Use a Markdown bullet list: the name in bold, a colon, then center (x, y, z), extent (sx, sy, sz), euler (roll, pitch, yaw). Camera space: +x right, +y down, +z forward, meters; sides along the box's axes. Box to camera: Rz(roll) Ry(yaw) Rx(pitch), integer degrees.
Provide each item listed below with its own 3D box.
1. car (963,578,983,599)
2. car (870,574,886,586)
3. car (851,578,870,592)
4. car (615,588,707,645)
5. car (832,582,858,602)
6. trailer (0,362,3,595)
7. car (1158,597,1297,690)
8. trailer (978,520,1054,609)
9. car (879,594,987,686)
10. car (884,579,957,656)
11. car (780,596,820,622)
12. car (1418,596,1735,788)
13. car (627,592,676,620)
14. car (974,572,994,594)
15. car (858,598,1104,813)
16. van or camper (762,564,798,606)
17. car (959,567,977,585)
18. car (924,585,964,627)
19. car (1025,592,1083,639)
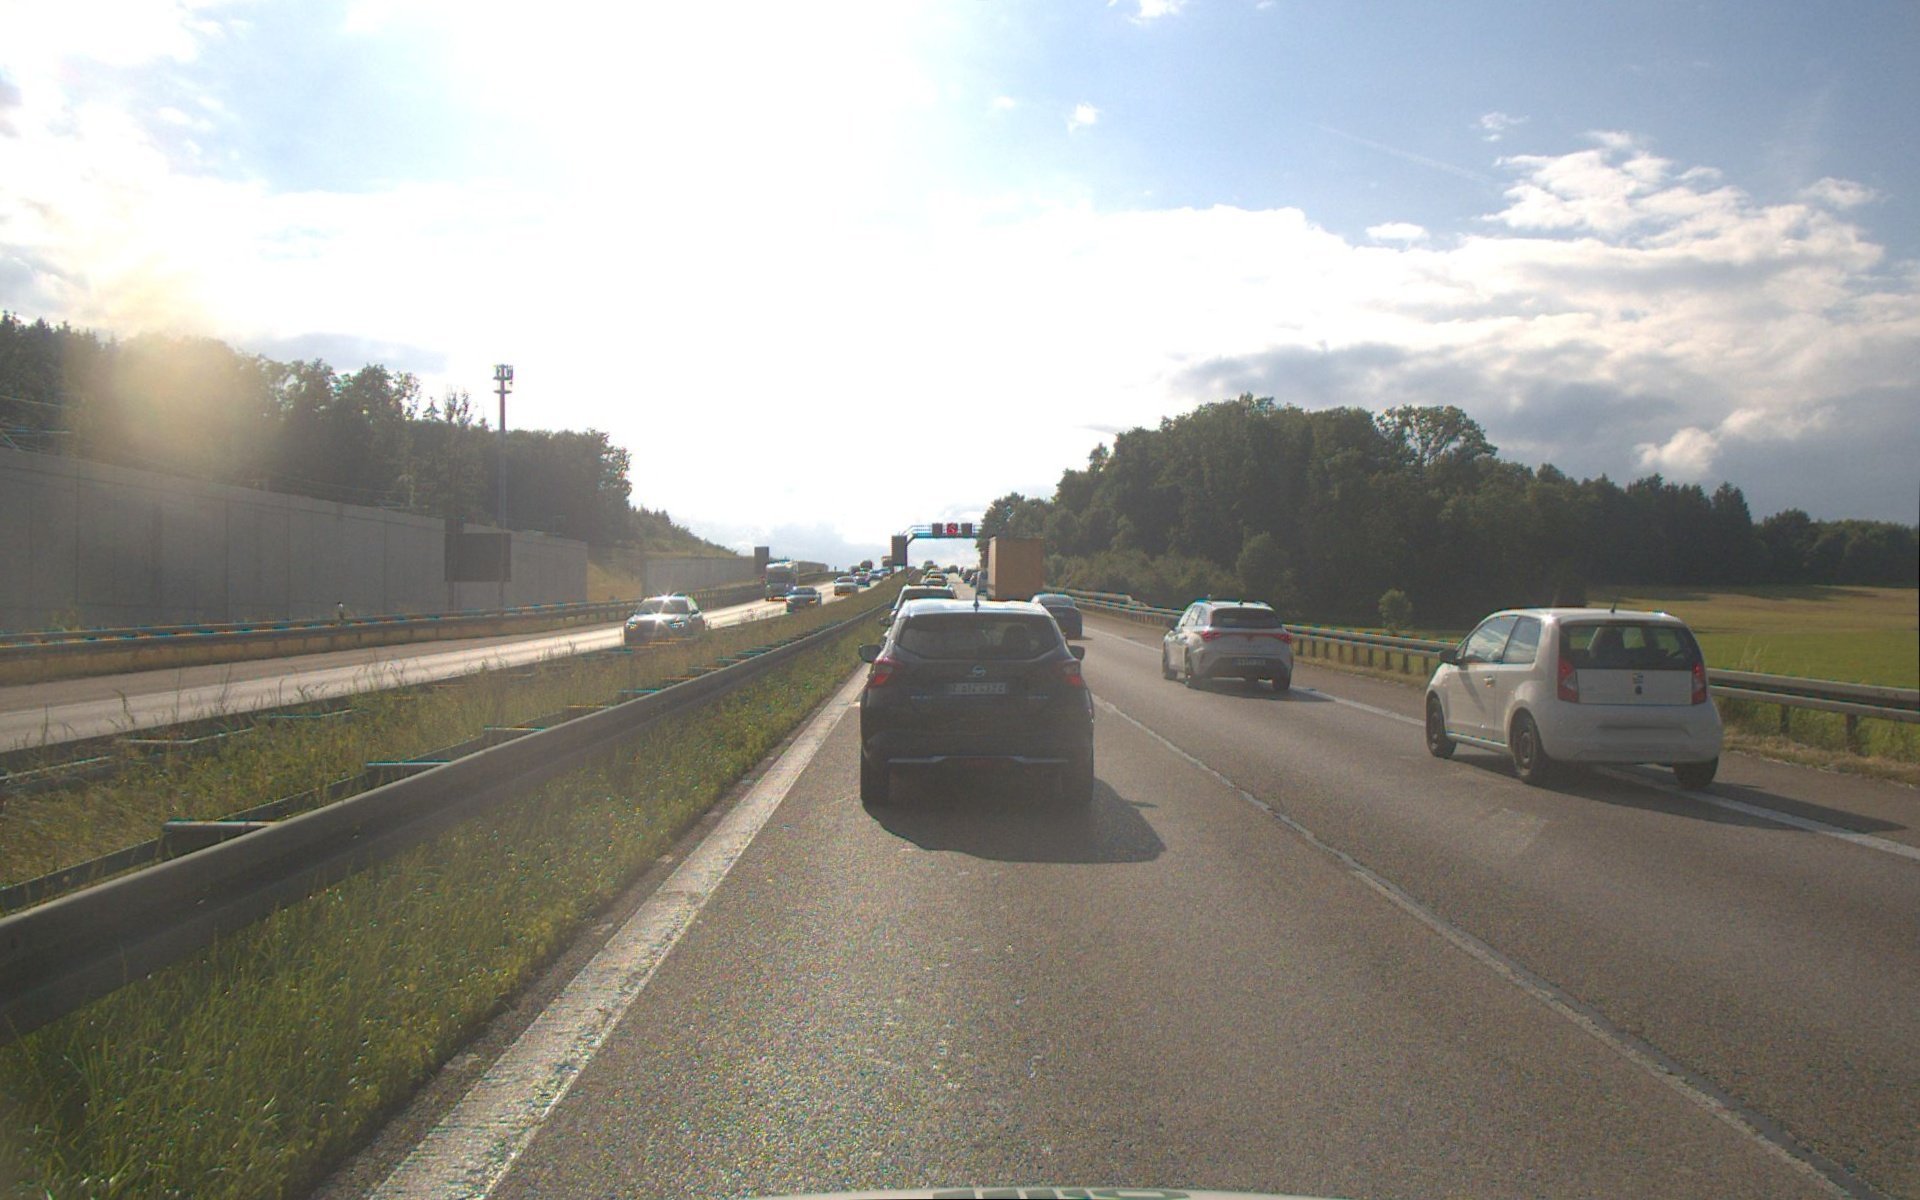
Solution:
- **car**: center (1.325, -1.179, 173.249), extent (1.953, 2.049, 3.999), euler (1, 0, -2)
- **car**: center (-10.843, -2.695, 219.559), extent (1.953, 1.458, 4.447), euler (1, 0, -2)
- **car**: center (-10.787, -1.659, 179.595), extent (1.816, 1.458, 4.447), euler (0, 0, -2)
- **car**: center (-8.314, 0.450, 46.363), extent (1.863, 1.490, 4.182), euler (1, 0, -1)
- **car**: center (-9.700, -0.675, 139.737), extent (1.953, 1.621, 4.447), euler (1, 0, -2)
- **trailer**: center (-11.401, -0.465, 10.953), extent (2.703, 4.187, 12.901), euler (0, 0, -1)
- **car**: center (4.547, 0.716, 28.657), extent (1.588, 1.471, 4.145), euler (1, -1, -2)
- **trailer**: center (2.983, -1.777, 91.918), extent (3.477, 4.535, 12.718), euler (1, 0, -1)
- **car**: center (-0.402, 0.625, 27.238), extent (1.639, 1.391, 3.596), euler (1, -1, 0)
- **car**: center (-0.907, 0.425, 39.915), extent (1.639, 1.756, 3.596), euler (1, -1, 0)
- **car**: center (-9.142, 0.521, 94.621), extent (1.953, 1.458, 4.447), euler (1, 0, -2)
- **car**: center (5.474, 0.744, 15.108), extent (1.518, 1.521, 3.376), euler (1, 0, -2)
- **car**: center (-16.863, 0.342, 90.523), extent (1.953, 1.458, 4.447), euler (1, 0, -2)
- **car**: center (2.026, -1.415, 140.278), extent (1.633, 1.785, 3.327), euler (1, 0, 1)
- **car**: center (0.168, 0.741, 13.082), extent (1.675, 1.451, 3.378), euler (1, -1, 1)
- **van or camper**: center (-13.847, -1.131, 127.654), extent (2.180, 3.133, 6.511), euler (1, 0, -2)
- **car**: center (0.949, -2.796, 194.783), extent (1.953, 2.049, 3.999), euler (1, 0, -2)
- **car**: center (-0.827, 0.315, 83.570), extent (1.953, 2.049, 3.999), euler (1, 0, -2)
- **car**: center (3.132, 0.523, 55.548), extent (1.711, 1.501, 4.147), euler (1, -1, 0)
